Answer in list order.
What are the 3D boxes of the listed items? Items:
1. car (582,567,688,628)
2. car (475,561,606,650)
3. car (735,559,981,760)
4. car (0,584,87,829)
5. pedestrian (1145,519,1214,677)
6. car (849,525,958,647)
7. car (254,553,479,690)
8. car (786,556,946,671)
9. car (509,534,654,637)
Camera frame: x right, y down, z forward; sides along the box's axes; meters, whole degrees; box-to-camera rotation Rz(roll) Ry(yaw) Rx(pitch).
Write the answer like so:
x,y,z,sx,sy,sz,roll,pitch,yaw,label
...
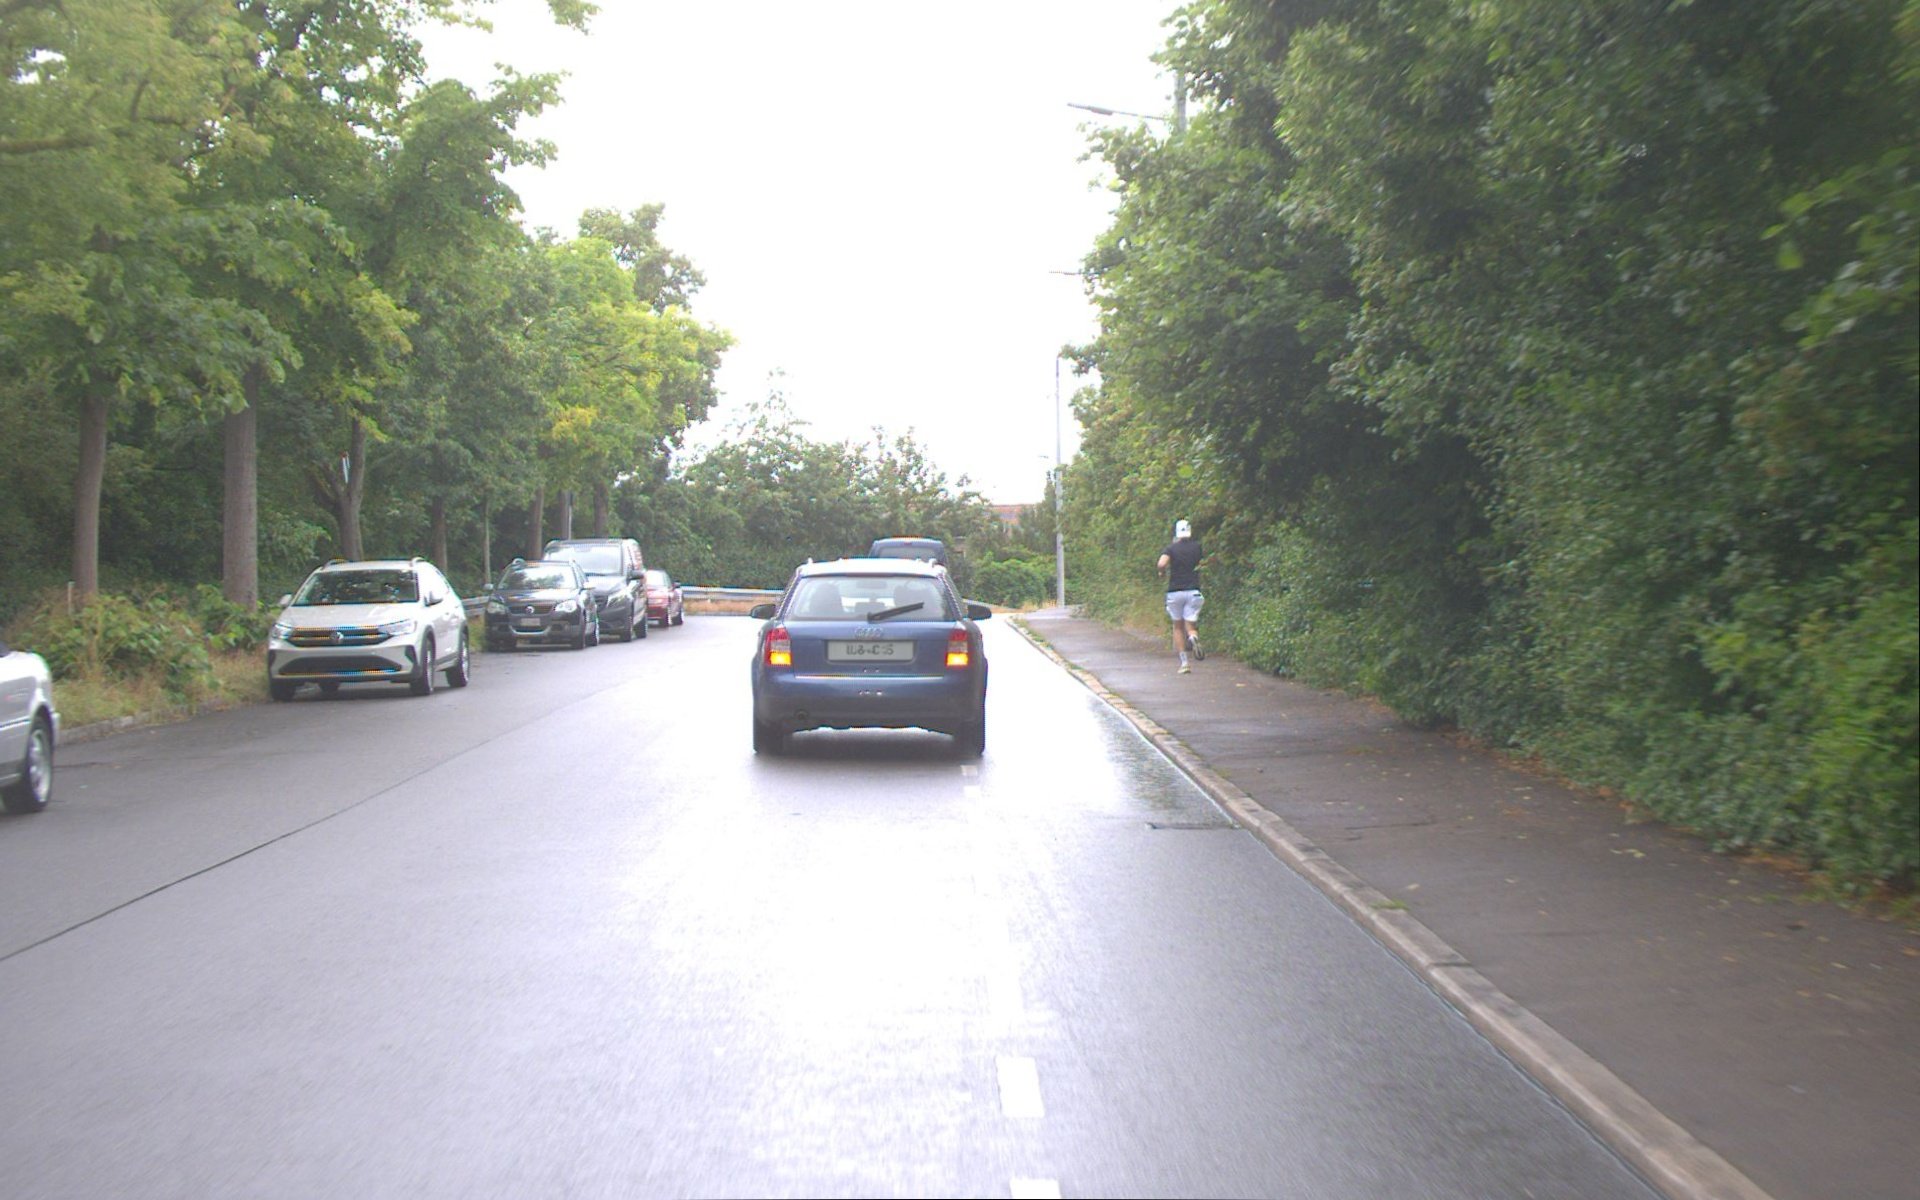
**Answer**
x,y,z,sx,sy,sz,roll,pitch,yaw,label
-7.178,-0.065,76.178,1.789,1.292,4.325,-1,0,2,car
-7.125,0.082,58.680,1.797,1.432,4.256,-1,0,-1,car
-0.788,0.402,26.497,1.747,1.403,4.000,0,1,-2,car
-6.361,0.623,19.413,1.754,1.397,4.419,-1,0,0,car
2.611,-0.028,40.982,0.716,1.828,1.021,-2,1,1,pedestrian
-1.044,-0.277,61.732,1.788,1.946,4.001,2,3,-2,car
-6.646,0.223,38.900,1.689,1.432,4.256,-1,0,2,car
-1.158,0.162,44.165,1.891,1.384,4.000,-1,0,1,car
-7.063,-0.280,64.652,2.083,1.813,5.381,-1,0,0,car
